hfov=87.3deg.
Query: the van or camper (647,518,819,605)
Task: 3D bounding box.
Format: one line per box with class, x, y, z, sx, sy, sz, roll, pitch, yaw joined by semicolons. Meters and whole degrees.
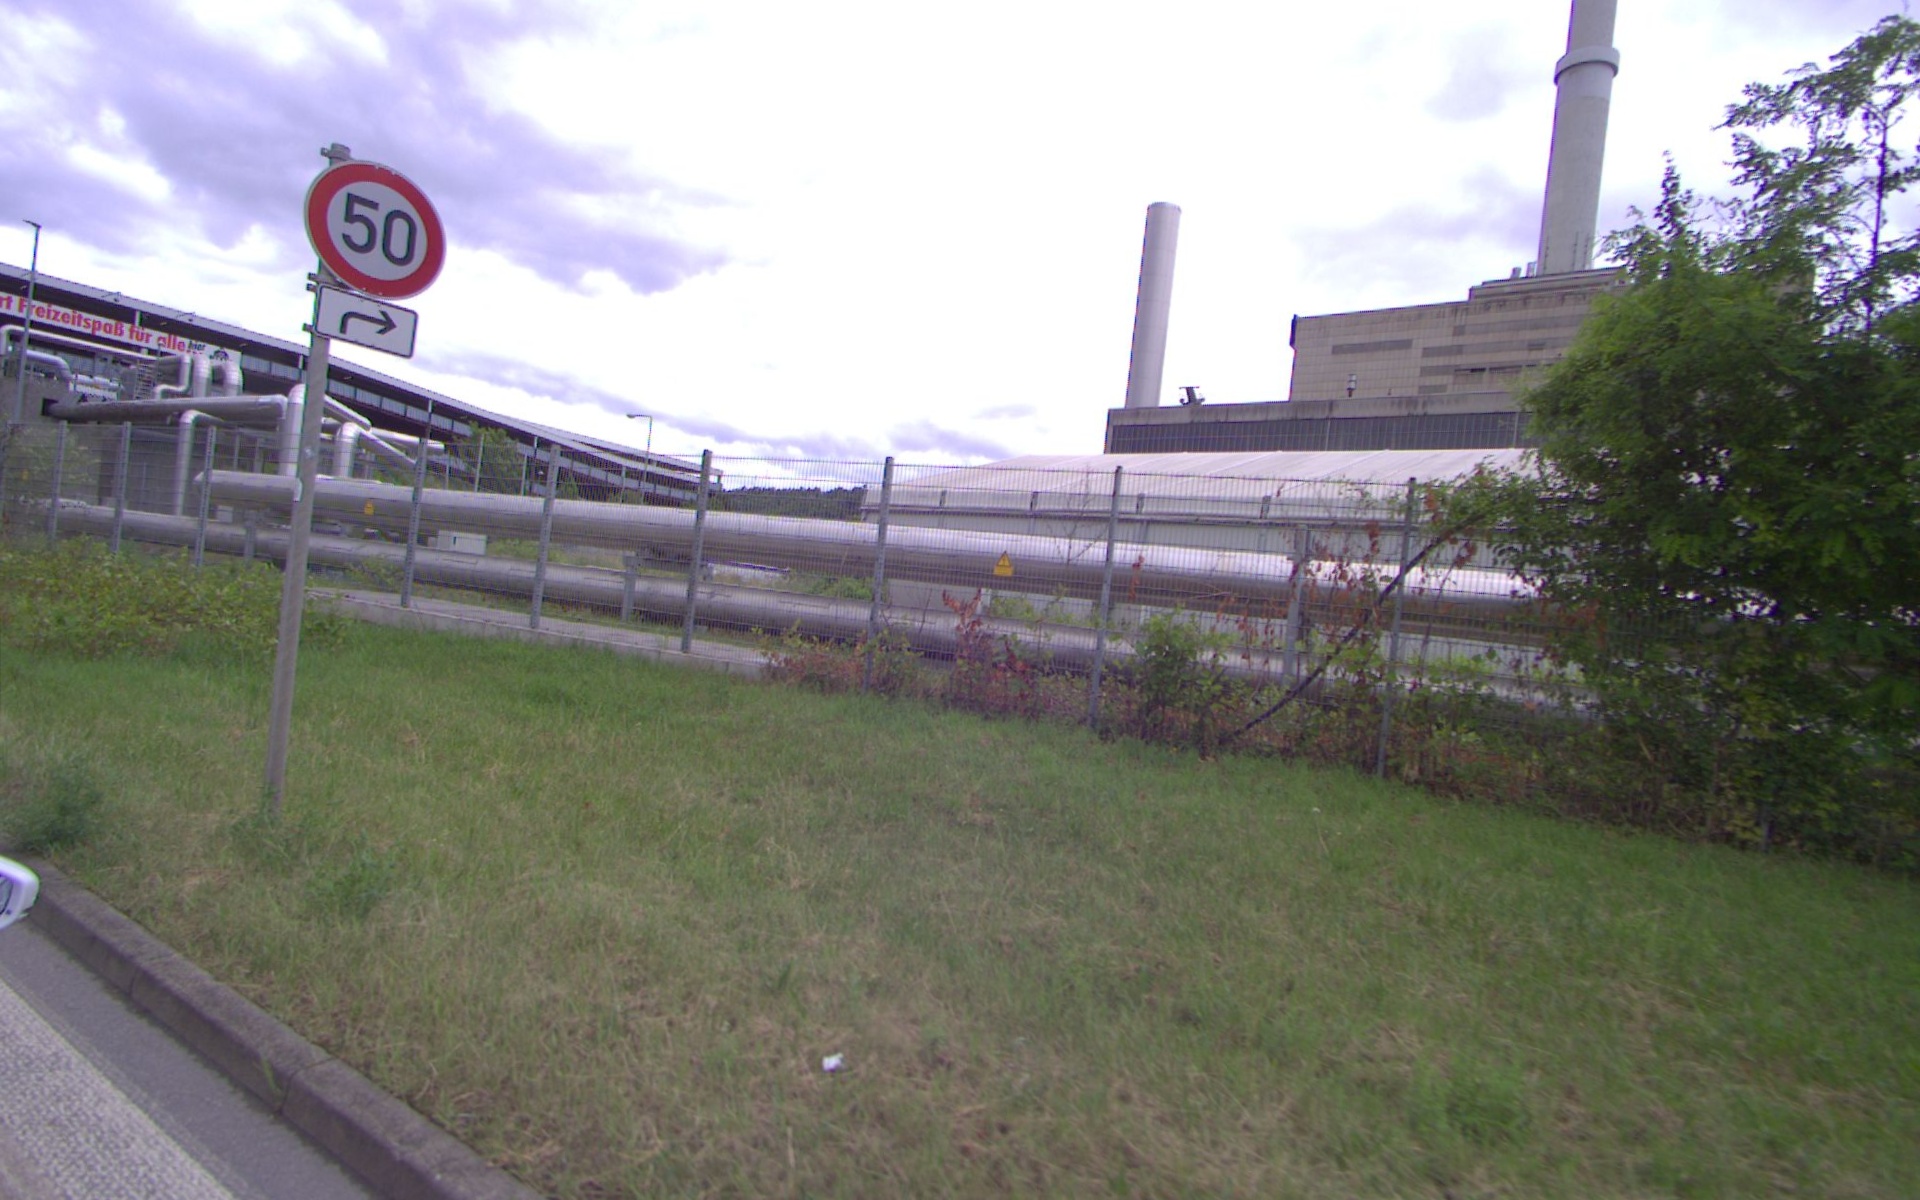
van or camper;-8.745;-1.426;39.331;2.539;2.579;6.100;6;-1;40
